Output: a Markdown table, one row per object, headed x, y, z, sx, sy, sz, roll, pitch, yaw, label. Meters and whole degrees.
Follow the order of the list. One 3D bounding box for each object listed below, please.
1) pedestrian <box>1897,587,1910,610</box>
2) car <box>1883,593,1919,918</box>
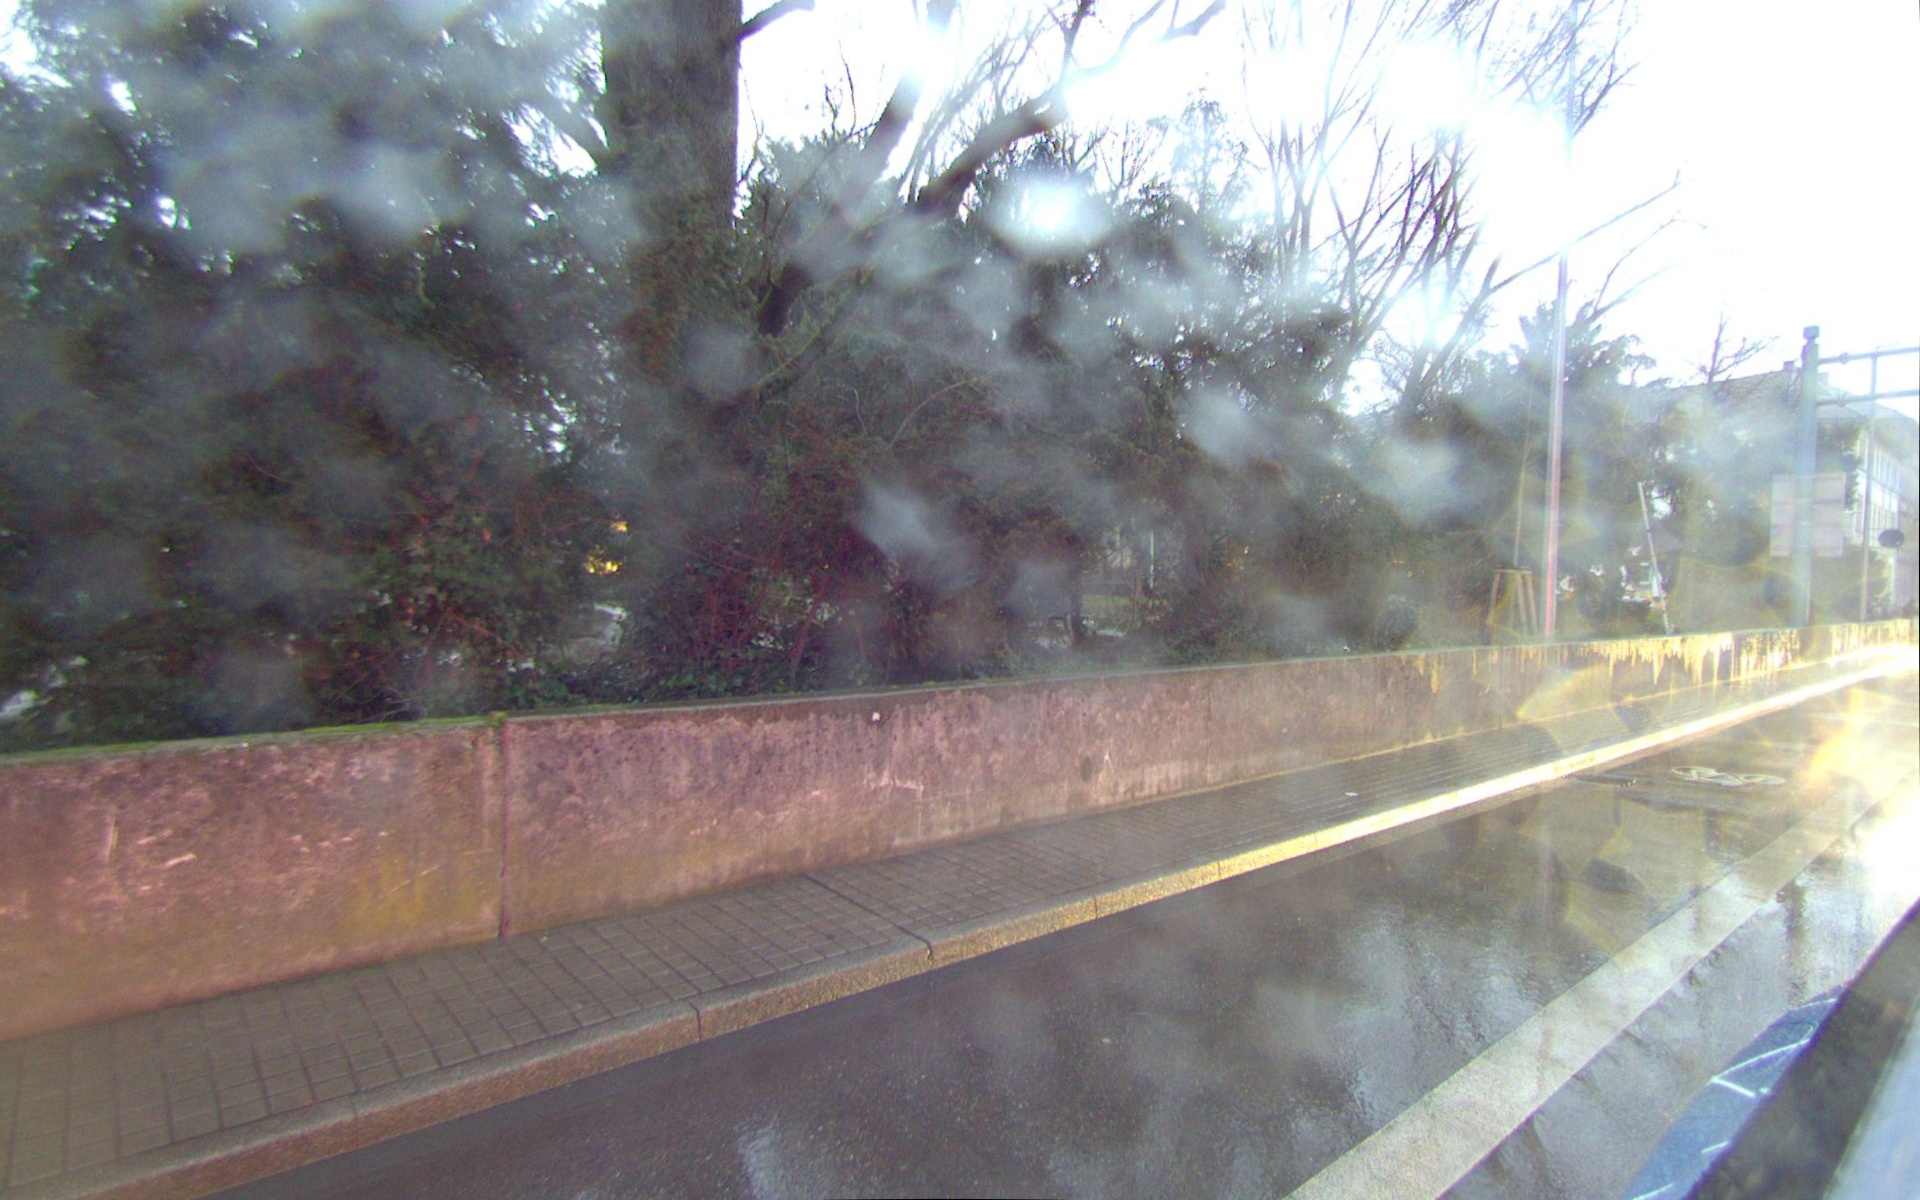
| x | y | z | sx | sy | sz | roll | pitch | yaw | label |
| --- | --- | --- | --- | --- | --- | --- | --- | --- | --- |
| 62.709 | -0.085 | 67.233 | 0.577 | 1.529 | 0.520 | 1 | 2 | -41 | pedestrian |
| 6.072 | 0.663 | 5.037 | 3.913 | 1.388 | 1.796 | 0 | 1 | -42 | car |
